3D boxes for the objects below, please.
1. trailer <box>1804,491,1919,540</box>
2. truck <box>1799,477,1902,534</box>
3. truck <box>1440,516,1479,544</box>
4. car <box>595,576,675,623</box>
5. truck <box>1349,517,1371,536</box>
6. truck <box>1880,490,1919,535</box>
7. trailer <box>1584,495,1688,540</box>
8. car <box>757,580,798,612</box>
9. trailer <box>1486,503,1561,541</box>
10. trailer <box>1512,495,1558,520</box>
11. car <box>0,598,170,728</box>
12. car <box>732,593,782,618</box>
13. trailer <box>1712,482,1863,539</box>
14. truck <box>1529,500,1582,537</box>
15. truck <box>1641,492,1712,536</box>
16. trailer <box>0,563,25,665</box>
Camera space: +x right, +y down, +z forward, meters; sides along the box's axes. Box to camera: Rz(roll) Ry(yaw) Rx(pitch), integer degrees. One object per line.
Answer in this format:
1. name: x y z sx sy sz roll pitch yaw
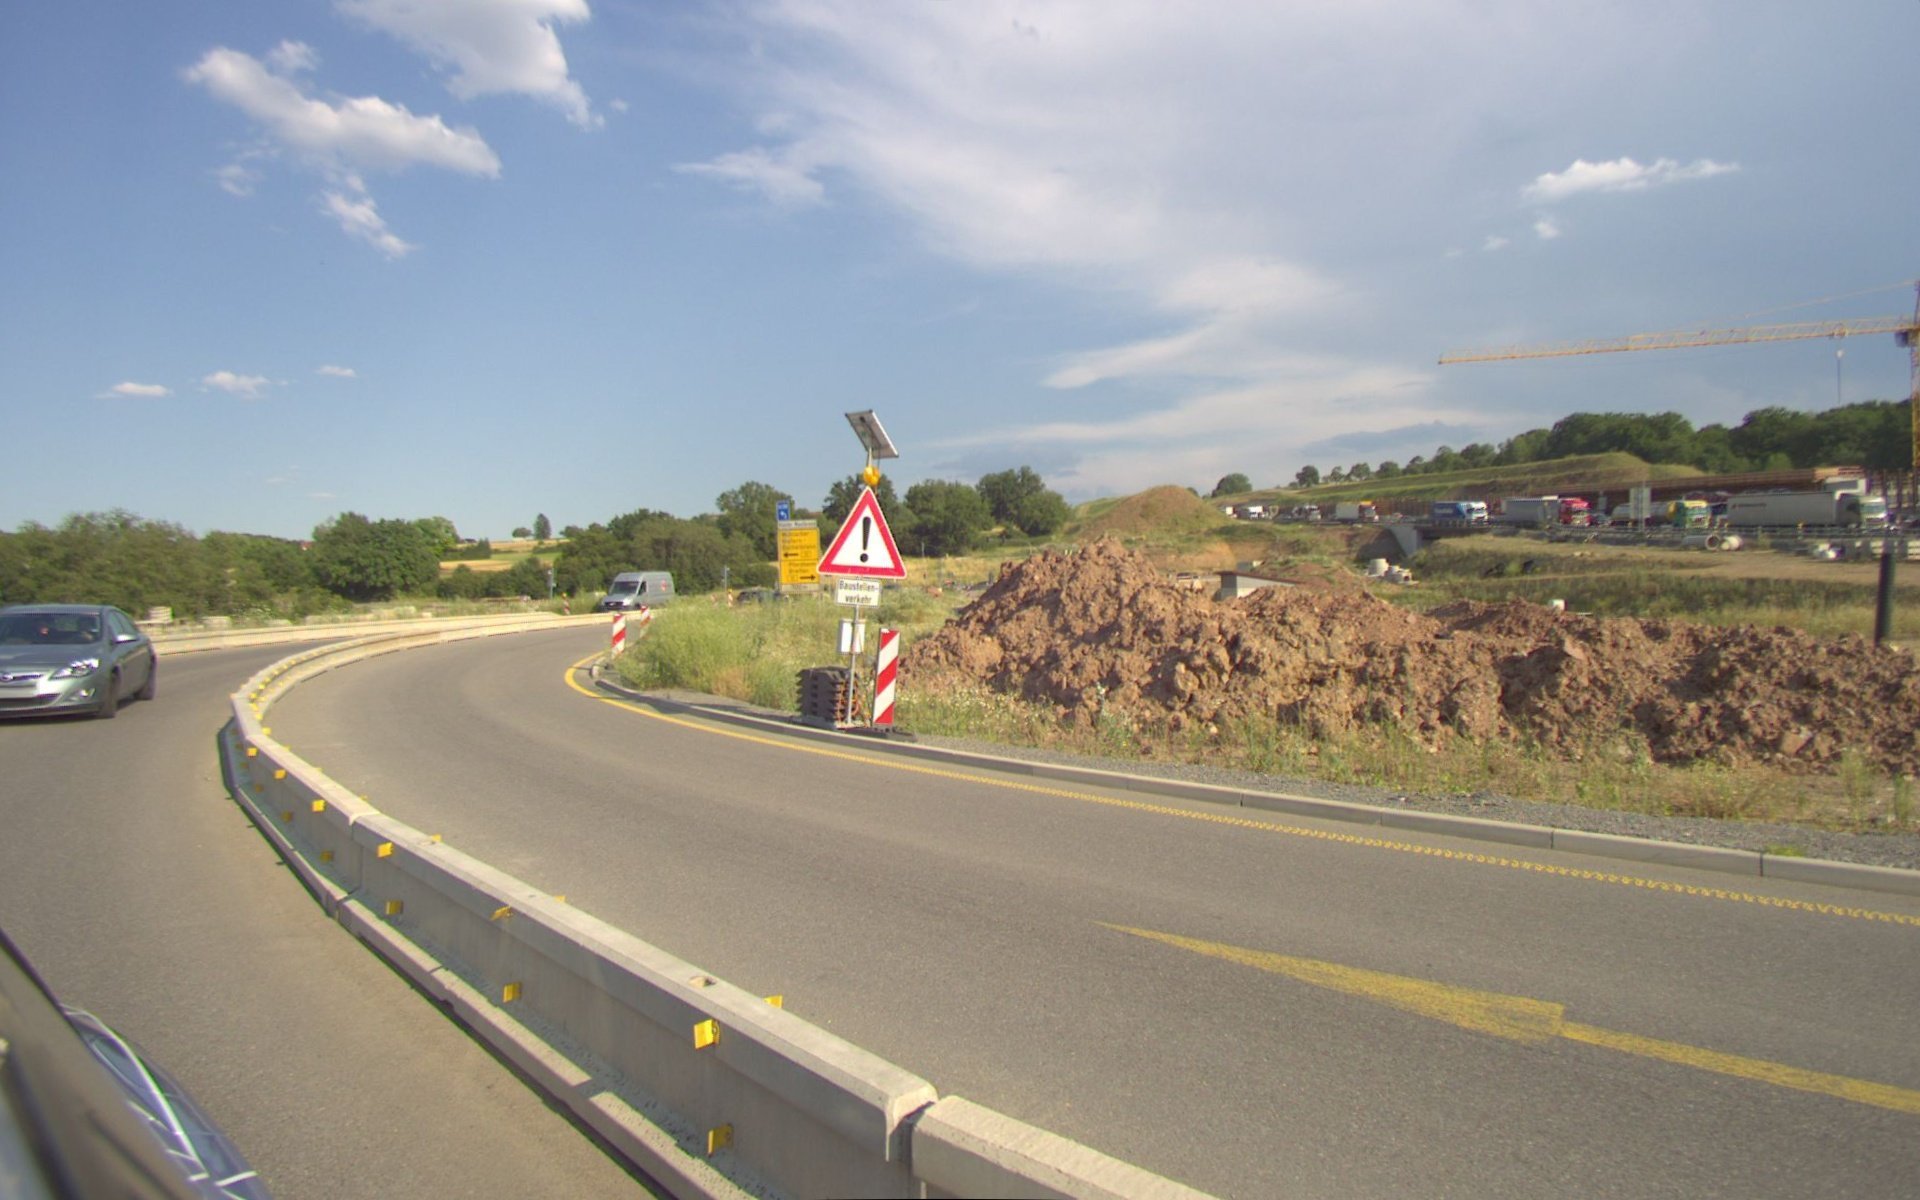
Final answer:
1. trailer: 99.706 -9.129 111.214 3.074 4.346 14.231 -1 1 5
2. truck: 78.065 -8.196 88.886 3.072 4.346 6.892 -1 1 2
3. truck: 80.756 -11.280 163.865 2.490 4.031 8.544 -1 1 3
4. car: -18.710 -0.068 58.589 1.896 2.519 5.781 -1 1 9
5. truck: 82.140 -15.116 207.868 1.972 3.491 6.215 -1 1 1
6. truck: 99.125 -9.061 104.056 3.075 4.346 6.886 -1 1 5
7. trailer: 79.681 -9.609 119.827 3.072 4.346 14.243 -1 1 2
8. car: -14.532 -0.359 80.832 1.858 2.421 3.985 -1 1 12
9. trailer: 79.609 -10.929 143.359 3.072 4.346 14.243 -1 1 2
10. trailer: 100.157 -16.026 176.557 1.946 3.540 11.167 -1 1 2
11. car: -12.264 0.762 13.671 1.718 1.495 4.265 -2 0 -27
12. car: -12.907 0.317 64.546 1.696 1.530 4.503 0 1 9
13. trailer: 78.340 -8.321 96.496 3.072 4.346 14.243 -1 1 2
14. truck: 79.318 -10.824 134.967 3.072 4.346 6.892 -1 1 2
15. truck: 79.371 -9.475 112.254 3.072 4.346 6.892 -1 1 2
16. trailer: -24.111 0.432 21.167 2.966 2.432 7.240 -2 1 -7
